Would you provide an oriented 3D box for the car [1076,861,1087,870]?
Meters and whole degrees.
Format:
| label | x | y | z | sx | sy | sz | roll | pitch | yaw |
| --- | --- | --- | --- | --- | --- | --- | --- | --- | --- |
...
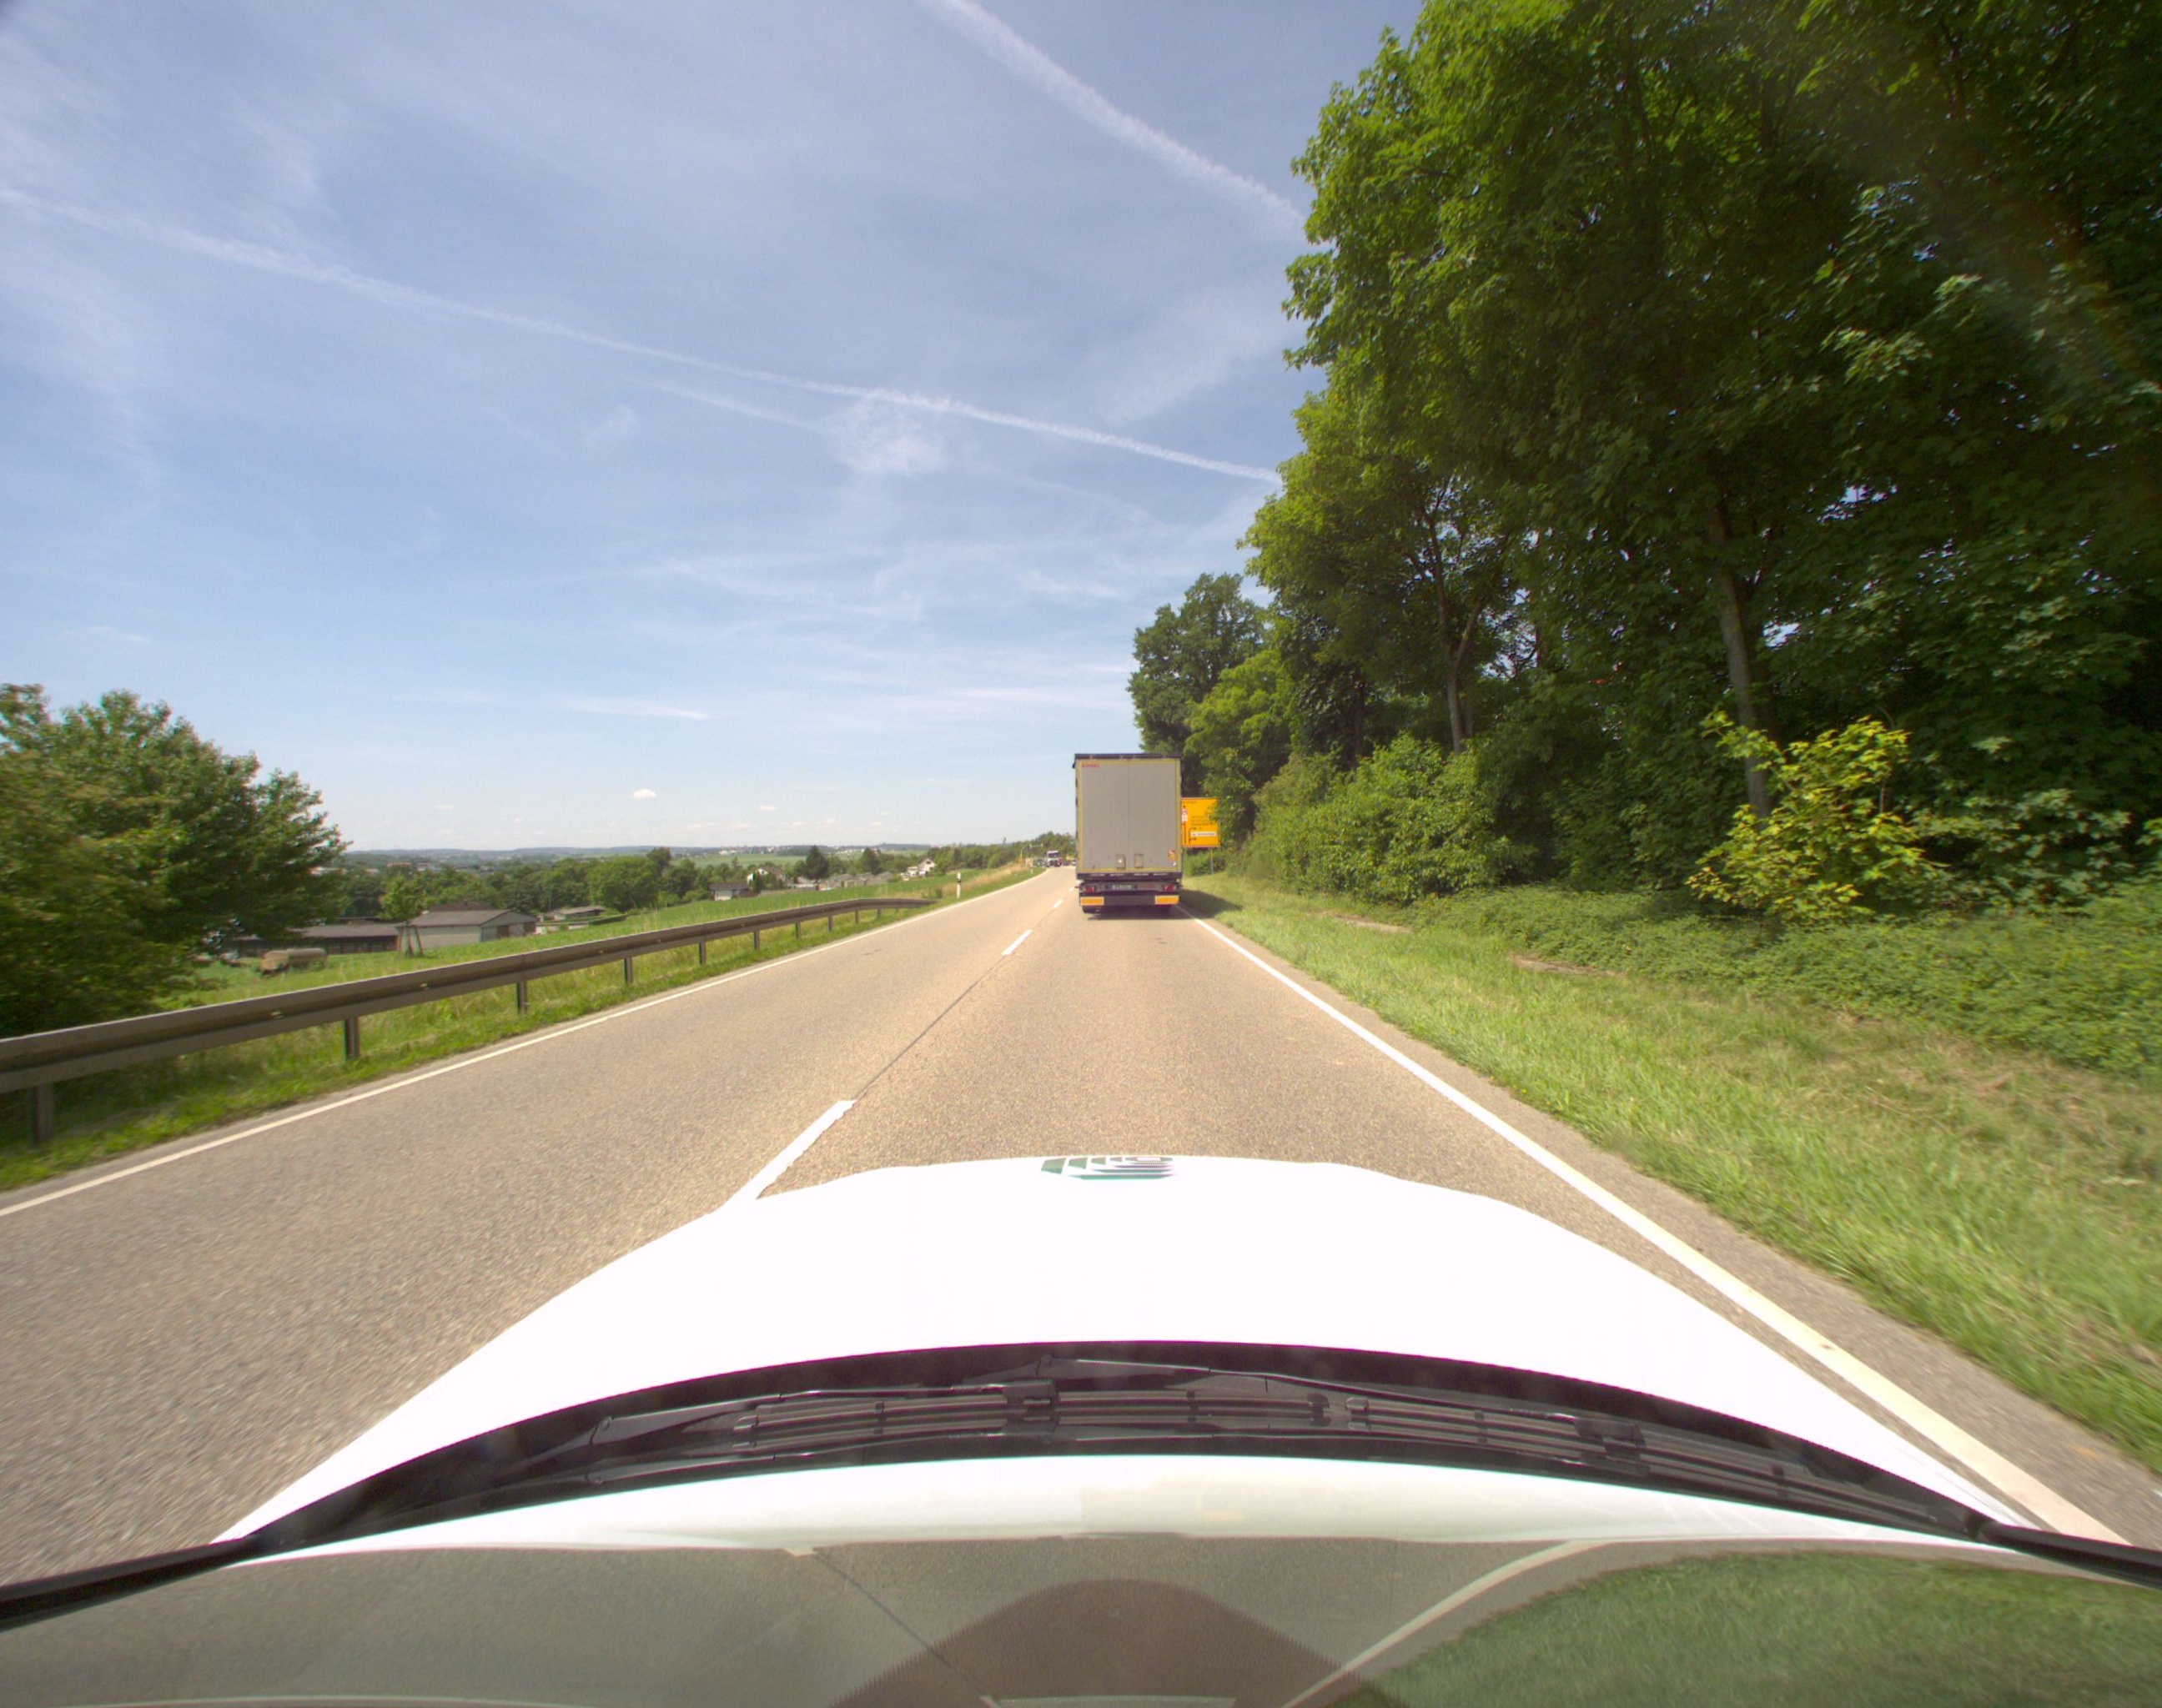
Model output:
| label | x | y | z | sx | sy | sz | roll | pitch | yaw |
| --- | --- | --- | --- | --- | --- | --- | --- | --- | --- |
| car | 0.138 | 2.580 | 187.322 | 2.167 | 2.013 | 4.520 | -4 | 0 | -4 |

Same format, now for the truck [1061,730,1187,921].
| label | x | y | z | sx | sy | sz | roll | pitch | yaw |
| --- | --- | --- | --- | --- | --- | --- | --- | --- | --- |
| truck | 0.986 | -0.659 | 23.407 | 2.898 | 4.410 | 8.857 | -1 | 0 | 0 |

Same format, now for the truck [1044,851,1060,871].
| label | x | y | z | sx | sy | sz | roll | pitch | yaw |
| --- | --- | --- | --- | --- | --- | --- | --- | --- | --- |
| truck | -5.917 | 1.476 | 165.012 | 2.752 | 3.576 | 11.046 | -4 | -1 | -4 |

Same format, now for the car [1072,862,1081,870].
| label | x | y | z | sx | sy | sz | roll | pitch | yaw |
| --- | --- | --- | --- | --- | --- | --- | --- | --- | --- |
| car | -1.090 | 2.898 | 201.174 | 1.888 | 1.777 | 4.380 | -4 | 0 | -4 |

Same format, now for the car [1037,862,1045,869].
| label | x | y | z | sx | sy | sz | roll | pitch | yaw |
| --- | --- | --- | --- | --- | --- | --- | --- | --- | --- |
| car | -11.635 | 3.422 | 235.223 | 1.991 | 1.950 | 4.494 | -4 | -1 | -5 |
